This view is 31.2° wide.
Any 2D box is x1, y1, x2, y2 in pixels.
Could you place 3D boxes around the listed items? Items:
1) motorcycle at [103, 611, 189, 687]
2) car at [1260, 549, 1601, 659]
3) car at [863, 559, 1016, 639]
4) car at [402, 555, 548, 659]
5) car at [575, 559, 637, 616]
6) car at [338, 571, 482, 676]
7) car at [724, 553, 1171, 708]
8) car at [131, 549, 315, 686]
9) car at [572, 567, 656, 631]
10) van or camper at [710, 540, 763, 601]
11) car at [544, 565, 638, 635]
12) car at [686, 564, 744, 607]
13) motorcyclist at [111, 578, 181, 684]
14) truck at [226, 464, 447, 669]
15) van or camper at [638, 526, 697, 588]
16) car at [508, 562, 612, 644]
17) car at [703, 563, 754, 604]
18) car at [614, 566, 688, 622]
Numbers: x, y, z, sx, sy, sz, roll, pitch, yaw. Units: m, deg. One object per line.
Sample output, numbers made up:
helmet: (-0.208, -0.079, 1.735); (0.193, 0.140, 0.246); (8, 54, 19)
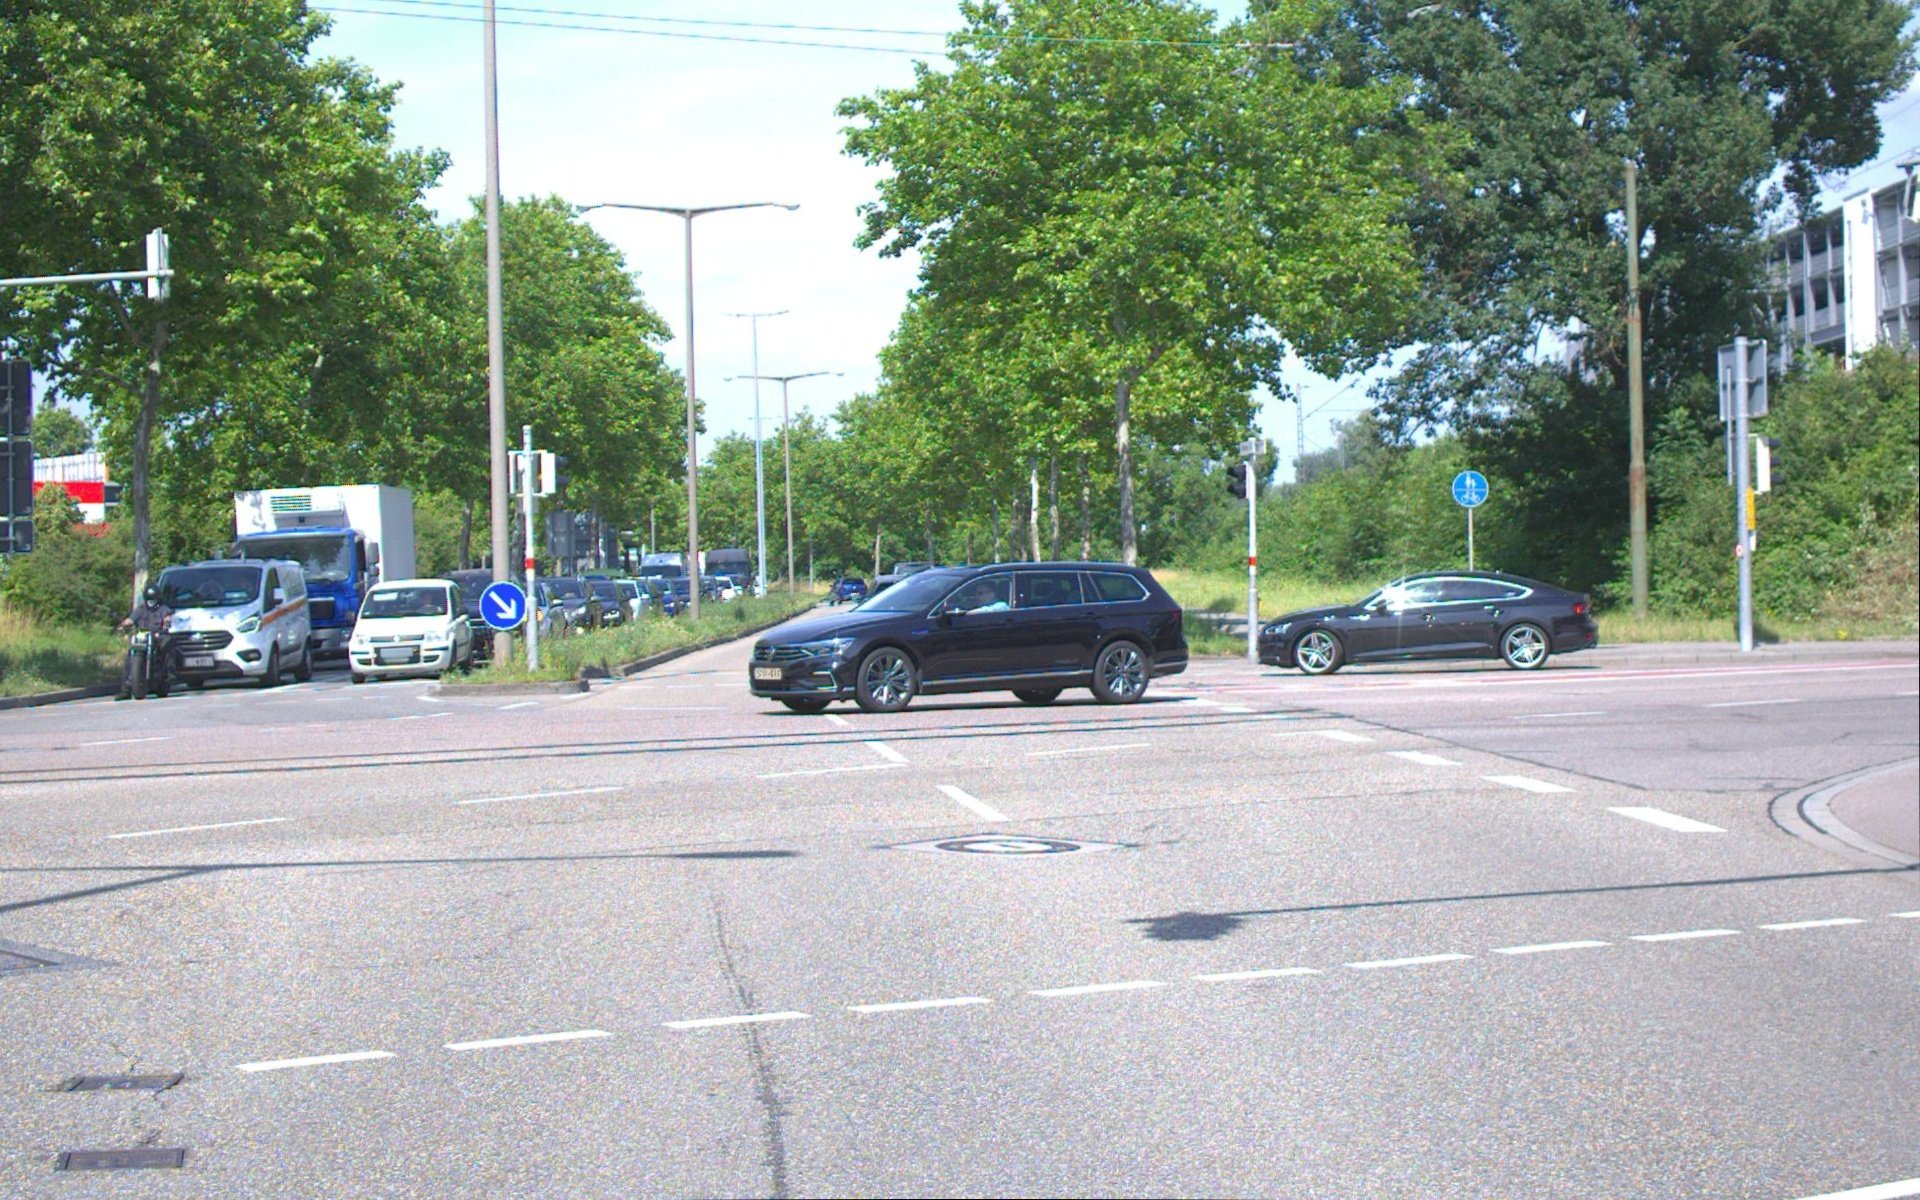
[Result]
motorcycle: (-11.383, 0.673, 48.155); (0.688, 0.988, 2.217); (-1, 1, -1)
car: (6.553, 0.047, 47.894); (4.608, 1.458, 1.914); (-1, 1, 9)
car: (-0.342, -0.045, 63.830); (1.835, 1.386, 4.262); (-1, 1, 14)
car: (-8.195, 0.127, 58.439); (1.820, 1.641, 4.694); (-2, 0, -1)
car: (-12.223, -0.437, 118.904); (1.689, 1.852, 4.036); (-2, 0, -1)
car: (-8.377, 0.326, 52.609); (1.593, 1.472, 3.729); (-2, 1, -1)
car: (-0.108, 0.277, 35.071); (4.208, 1.438, 1.790); (-1, 1, -30)
car: (-11.337, 0.218, 53.210); (1.976, 1.992, 5.032); (-1, 1, -3)
car: (-8.522, -0.054, 84.871); (1.689, 1.467, 3.815); (-2, 1, -1)
van or camper: (-9.131, -1.193, 140.708); (1.938, 2.360, 5.398); (-2, 0, -2)
car: (-8.476, -0.023, 79.234); (1.689, 1.468, 4.218); (-3, 1, -1)
car: (-8.900, -0.542, 125.194); (1.783, 1.454, 4.472); (-2, 1, -1)
motorcyclist: (-11.420, 0.428, 48.246); (0.743, 1.465, 0.987); (-1, 1, -1)
truck: (-11.419, -0.657, 63.561); (2.804, 3.459, 6.692); (-3, 1, -1)
van or camper: (-12.562, -1.861, 147.874); (2.015, 2.579, 5.517); (-2, 1, -1)
car: (-8.337, 0.034, 71.959); (1.689, 1.581, 4.240); (-2, 1, -1)
car: (-8.866, -0.646, 131.843); (1.689, 1.505, 3.815); (-2, 1, -1)
car: (-8.750, -0.183, 97.566); (1.784, 1.484, 4.212); (-2, 1, -2)
